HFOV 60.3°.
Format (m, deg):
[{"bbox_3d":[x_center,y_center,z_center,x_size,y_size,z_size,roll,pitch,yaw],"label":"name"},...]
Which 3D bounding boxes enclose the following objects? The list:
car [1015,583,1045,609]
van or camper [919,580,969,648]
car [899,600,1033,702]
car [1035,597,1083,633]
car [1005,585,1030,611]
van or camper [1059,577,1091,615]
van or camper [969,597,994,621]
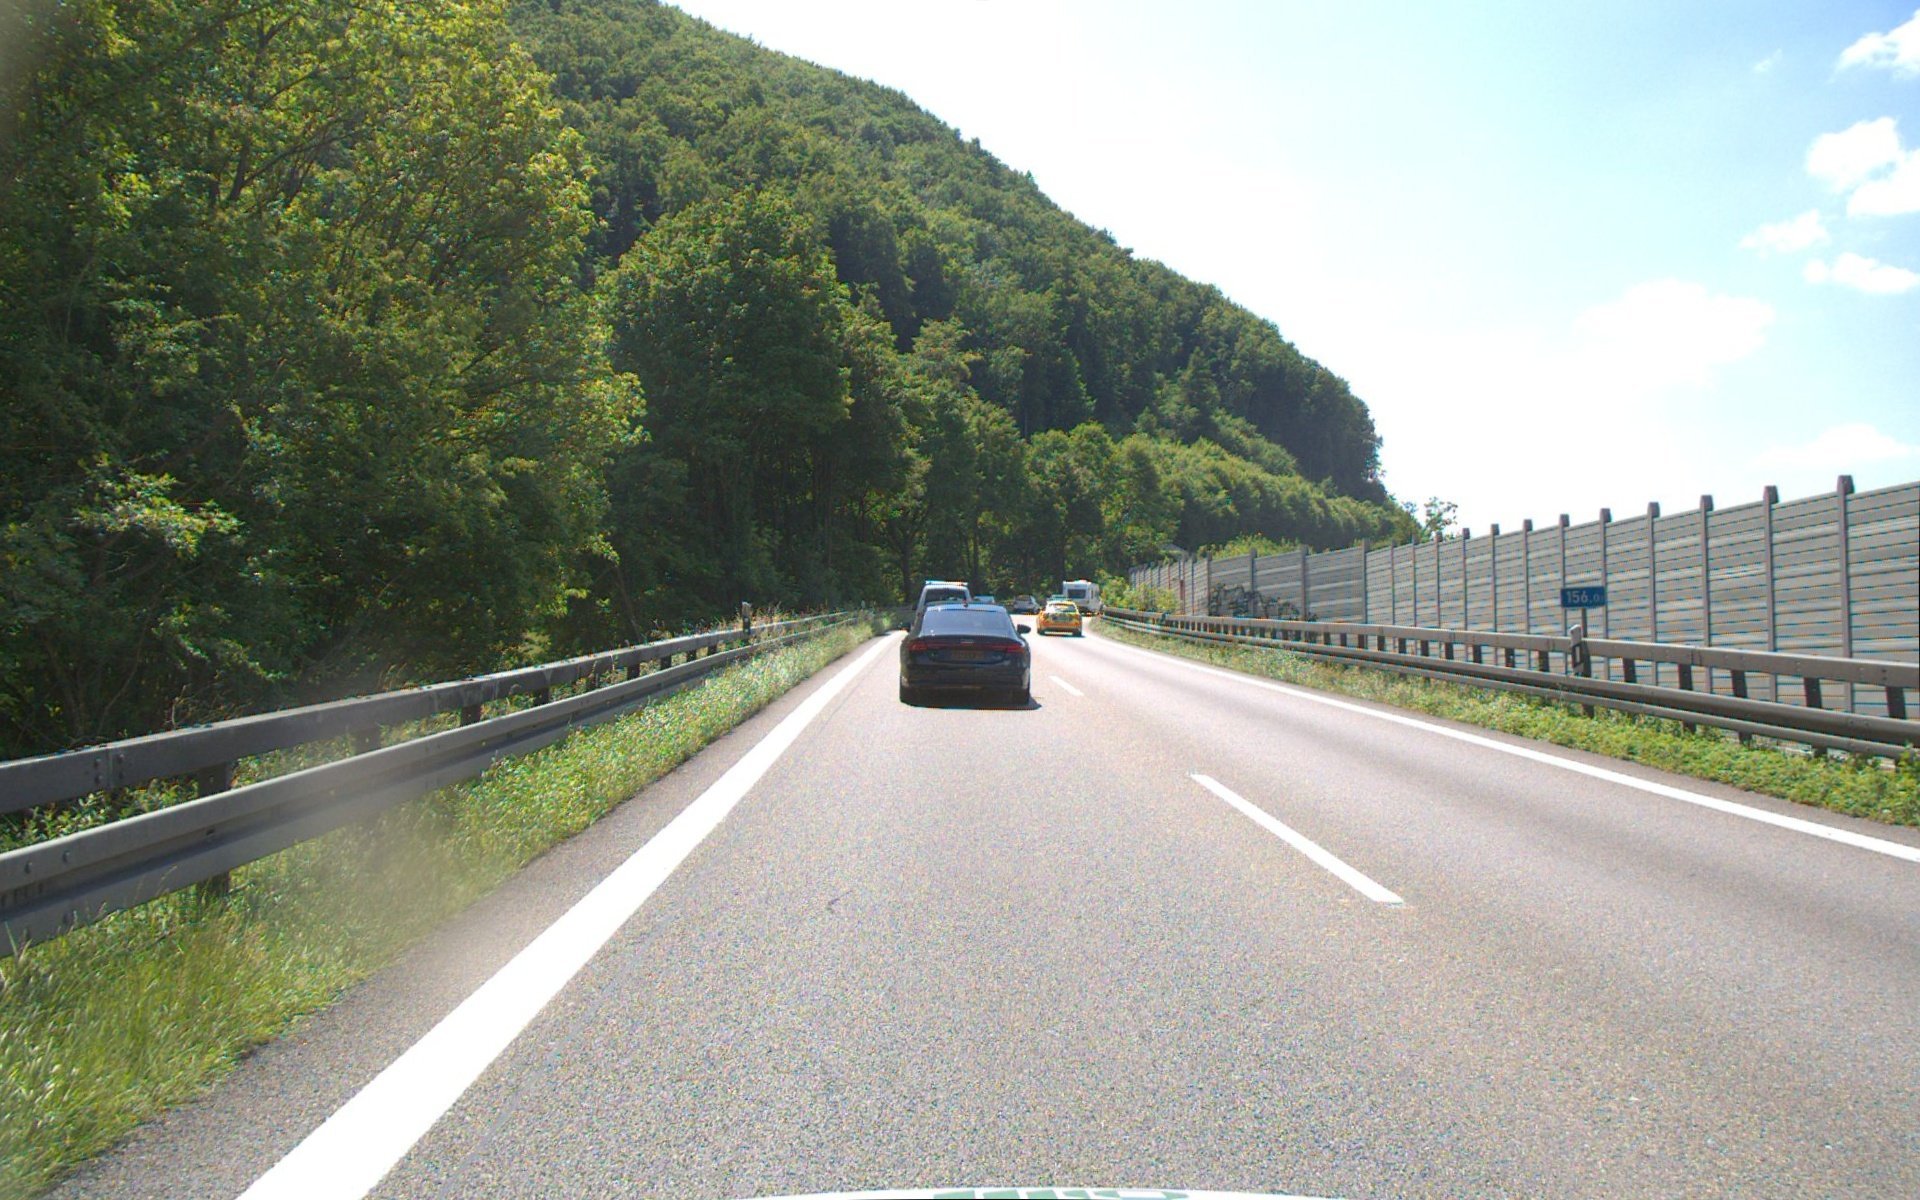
[{"bbox_3d":[4.661,-0.232,110.902,1.737,1.665,3.999,1,0,-1],"label":"car"},{"bbox_3d":[-0.462,0.395,47.633,1.363,1.847,3.999,0,0,-1],"label":"van or camper"},{"bbox_3d":[0.053,0.701,24.389,1.800,1.373,3.999,0,0,-1],"label":"car"},{"bbox_3d":[4.188,0.637,70.714,1.824,1.514,4.000,0,0,0],"label":"car"},{"bbox_3d":[4.590,-0.127,131.382,1.952,2.049,4.001,0,0,3],"label":"car"},{"bbox_3d":[9.208,-0.312,132.980,2.404,2.969,6.128,0,0,3],"label":"van or camper"},{"bbox_3d":[1.352,0.588,106.820,1.526,1.561,3.505,0,0,0],"label":"van or camper"}]
